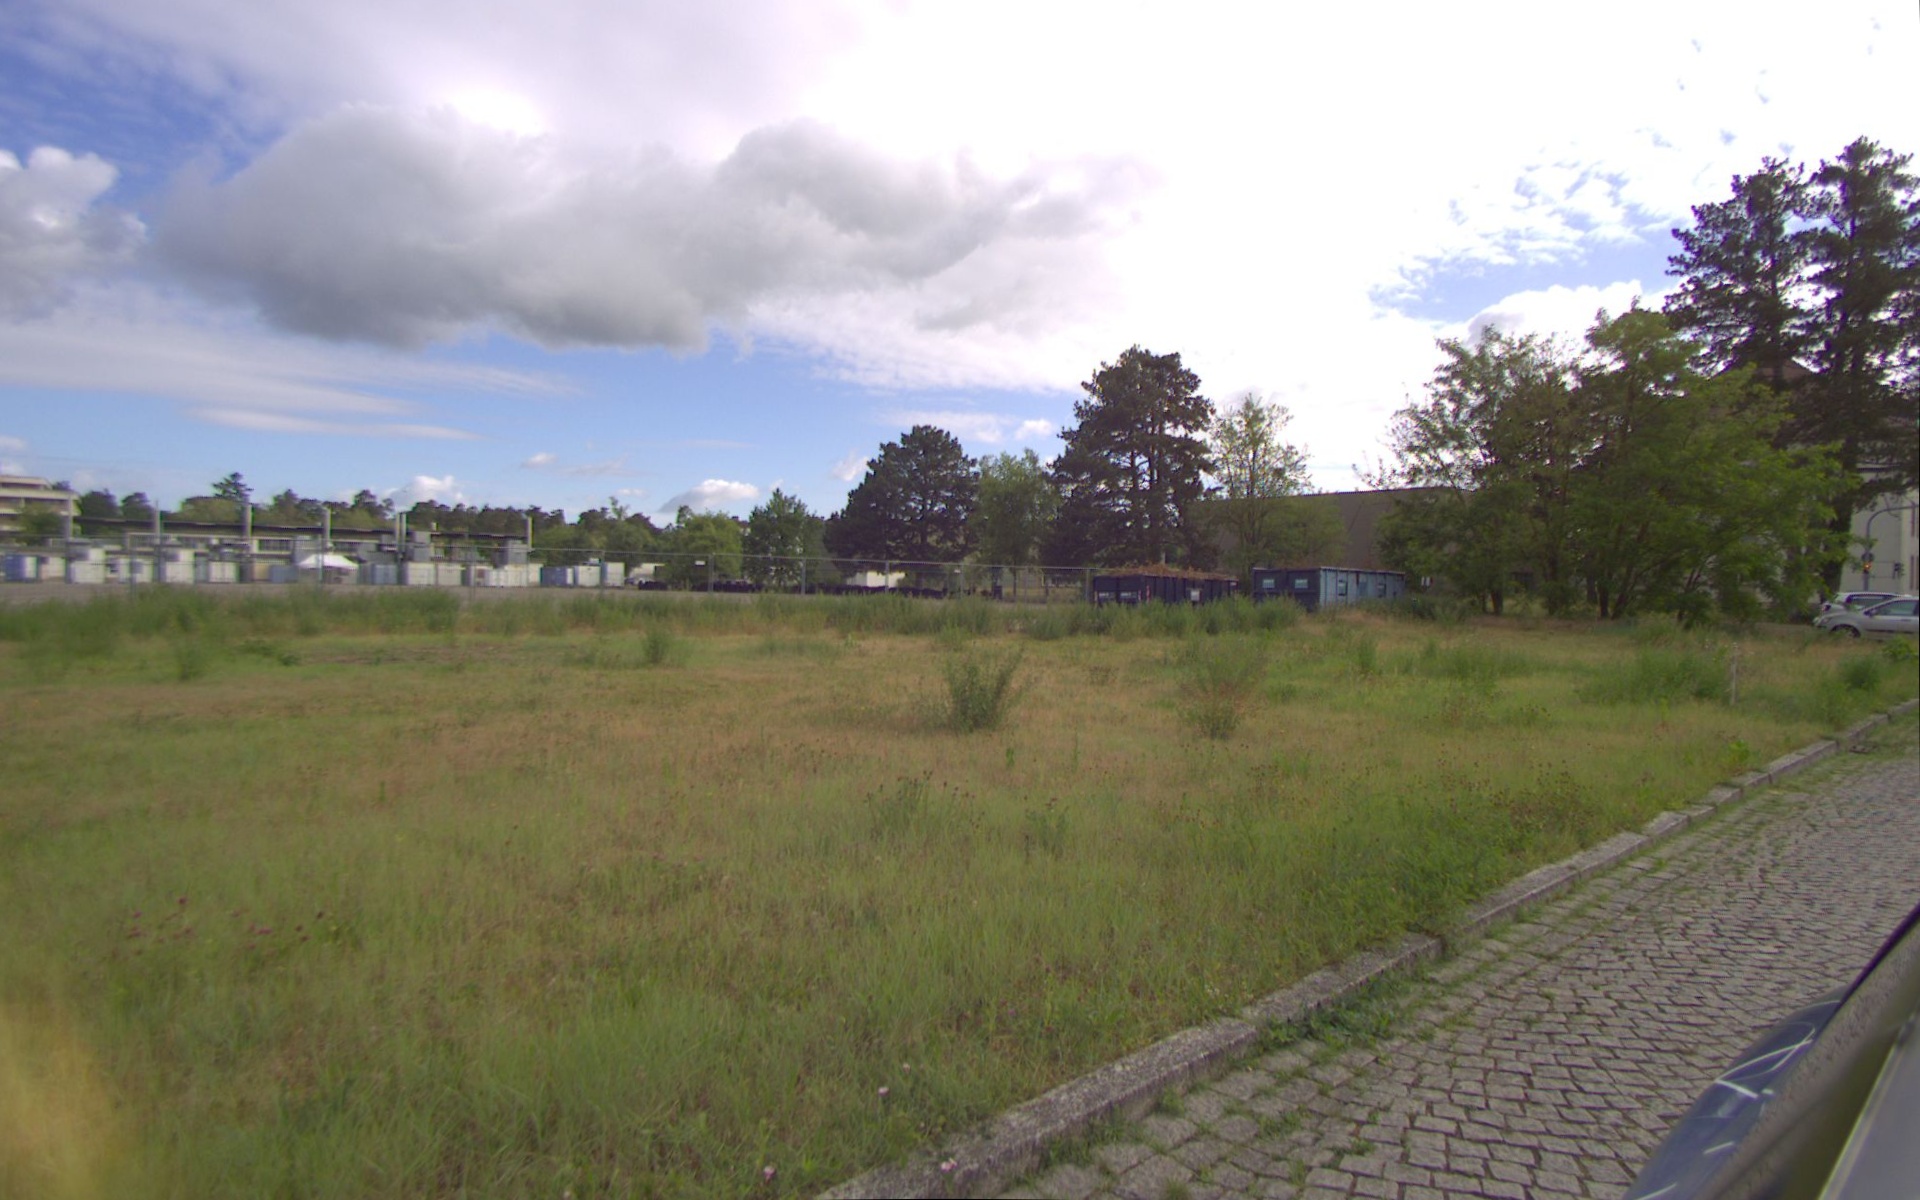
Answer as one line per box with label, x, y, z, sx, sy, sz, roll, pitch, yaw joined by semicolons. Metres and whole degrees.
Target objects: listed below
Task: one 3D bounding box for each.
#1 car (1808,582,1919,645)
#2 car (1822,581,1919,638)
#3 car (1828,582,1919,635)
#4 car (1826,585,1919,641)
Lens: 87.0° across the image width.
car;26.348;0.414;28.075;1.773;1.533;4.081;0;4;-42
car;30.104;0.346;31.896;1.854;1.615;4.246;0;4;-44
car;31.958;0.340;33.588;1.873;1.584;4.501;0;4;-42
car;28.362;0.442;29.815;1.853;1.470;4.081;0;4;-42
